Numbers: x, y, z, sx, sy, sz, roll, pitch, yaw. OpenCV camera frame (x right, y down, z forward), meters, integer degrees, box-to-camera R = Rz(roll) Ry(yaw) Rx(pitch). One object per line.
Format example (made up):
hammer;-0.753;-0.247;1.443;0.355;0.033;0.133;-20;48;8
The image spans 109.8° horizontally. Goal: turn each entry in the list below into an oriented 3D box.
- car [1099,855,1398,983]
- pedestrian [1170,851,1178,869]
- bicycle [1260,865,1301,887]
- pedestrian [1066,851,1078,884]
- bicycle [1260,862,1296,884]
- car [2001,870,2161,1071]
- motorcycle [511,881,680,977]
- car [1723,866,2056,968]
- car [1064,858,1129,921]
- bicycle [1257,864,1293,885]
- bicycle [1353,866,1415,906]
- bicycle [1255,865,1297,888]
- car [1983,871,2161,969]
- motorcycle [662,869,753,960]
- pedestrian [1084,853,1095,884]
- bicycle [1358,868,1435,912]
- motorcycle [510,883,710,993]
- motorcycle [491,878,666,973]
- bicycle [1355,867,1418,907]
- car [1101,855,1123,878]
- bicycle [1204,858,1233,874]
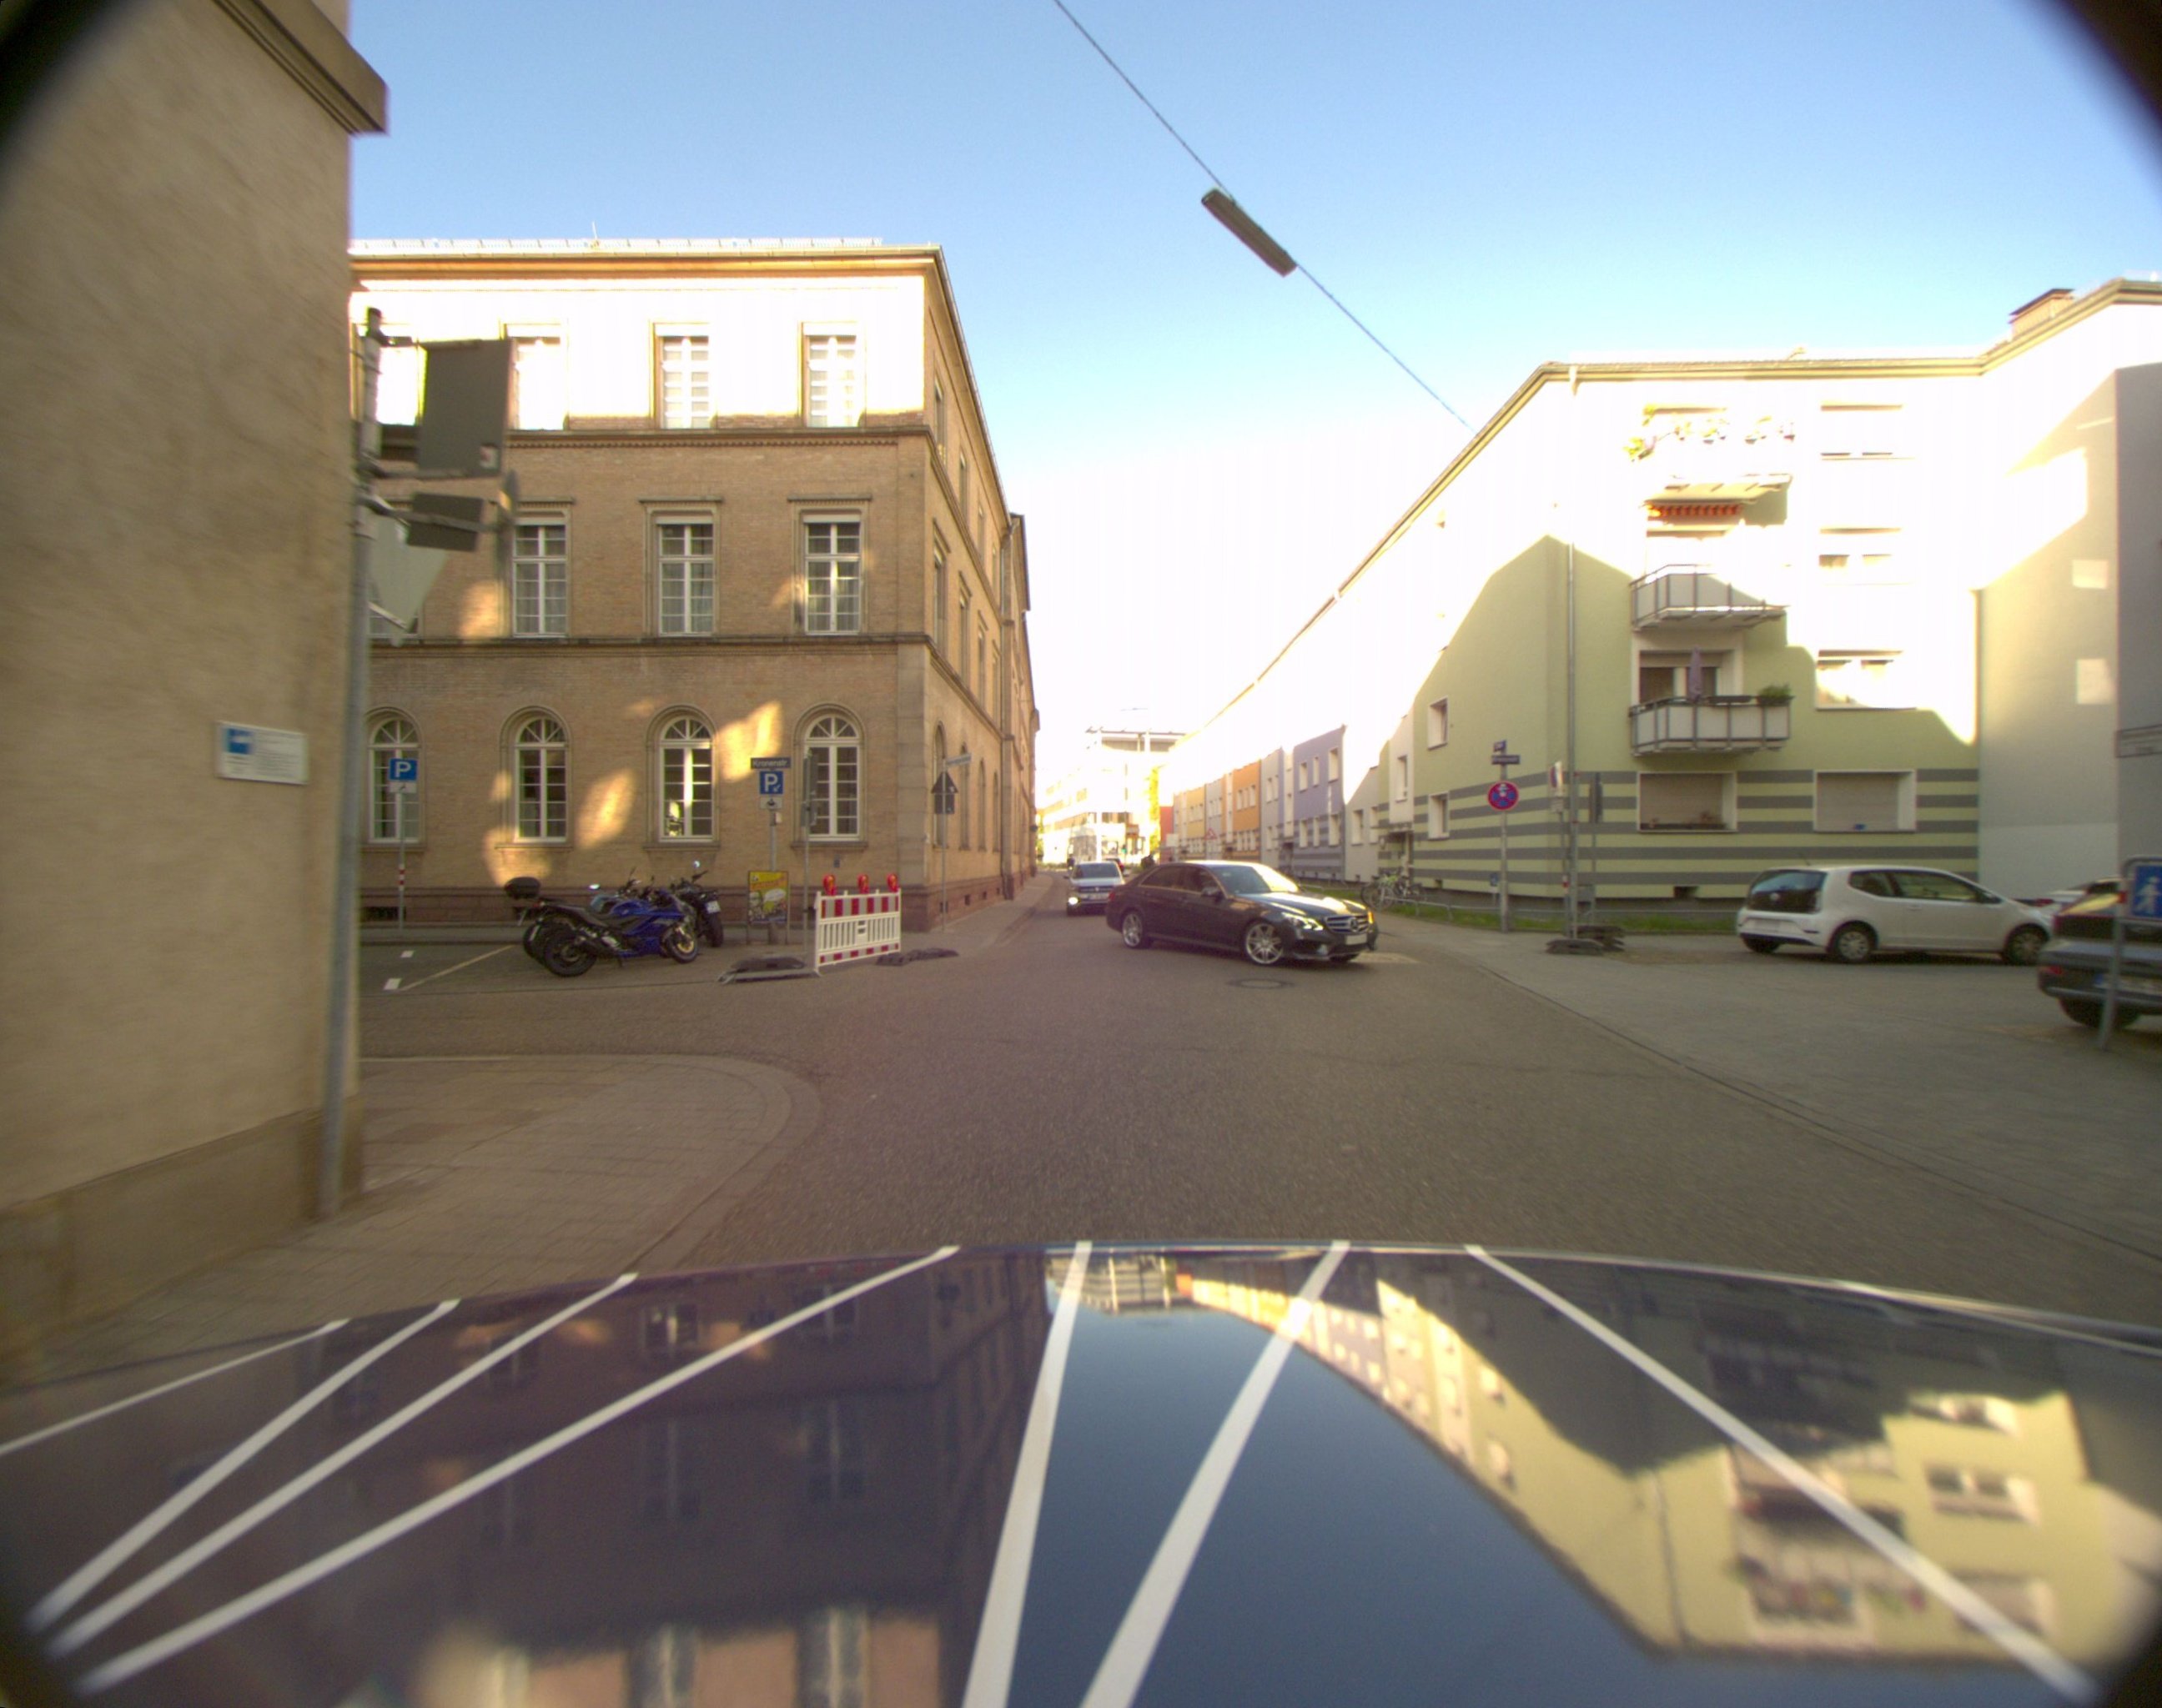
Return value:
car;2.272;0.853;11.705;1.789;1.470;4.660;-3;0;-29
pedestrian;8.401;0.540;68.659;0.612;1.641;0.447;0;1;-5
bicycle;9.560;1.065;36.425;1.802;0.940;0.388;-4;0;1
pedestrian;-0.521;0.770;45.036;0.677;1.928;0.858;0;0;0
bicycle;9.768;0.933;37.676;1.657;0.940;0.388;-4;0;1
car;10.255;0.896;5.997;3.942;1.511;1.693;0;0;0
motorcycle;-7.118;1.048;11.217;0.827;1.217;1.958;0;1;45
car;12.375;0.926;11.808;3.342;1.428;1.725;0;0;0
car;0.455;0.973;22.672;1.682;1.568;4.243;-3;0;1
bicycle;9.738;1.016;38.083;1.657;0.940;0.388;-4;0;1
bicycle;9.428;0.997;23.661;1.738;1.094;0.388;-4;0;-6
bicycle;9.178;1.057;35.739;1.802;0.940;0.388;-4;0;1
car;17.550;0.994;12.082;4.326;1.389;1.759;0;0;0
motorcycle;-6.220;0.951;12.589;2.073;1.325;0.708;1;1;45
pedestrian;0.497;0.850;44.775;0.603;1.770;0.652;0;0;0
bicycle;9.048;1.026;21.827;1.820;1.094;0.749;-4;0;1
motorcycle;-6.321;1.057;10.296;0.872;1.218;2.154;3;3;45
motorcycle;-7.811;1.048;11.895;0.827;1.280;2.149;0;1;45
bicycle;9.341;1.010;23.258;1.738;1.094;0.388;-4;0;-6
car;2.666;1.055;65.963;1.682;1.776;4.243;-3;0;1
bicycle;9.486;0.844;52.462;1.807;0.977;0.654;-5;1;-2
